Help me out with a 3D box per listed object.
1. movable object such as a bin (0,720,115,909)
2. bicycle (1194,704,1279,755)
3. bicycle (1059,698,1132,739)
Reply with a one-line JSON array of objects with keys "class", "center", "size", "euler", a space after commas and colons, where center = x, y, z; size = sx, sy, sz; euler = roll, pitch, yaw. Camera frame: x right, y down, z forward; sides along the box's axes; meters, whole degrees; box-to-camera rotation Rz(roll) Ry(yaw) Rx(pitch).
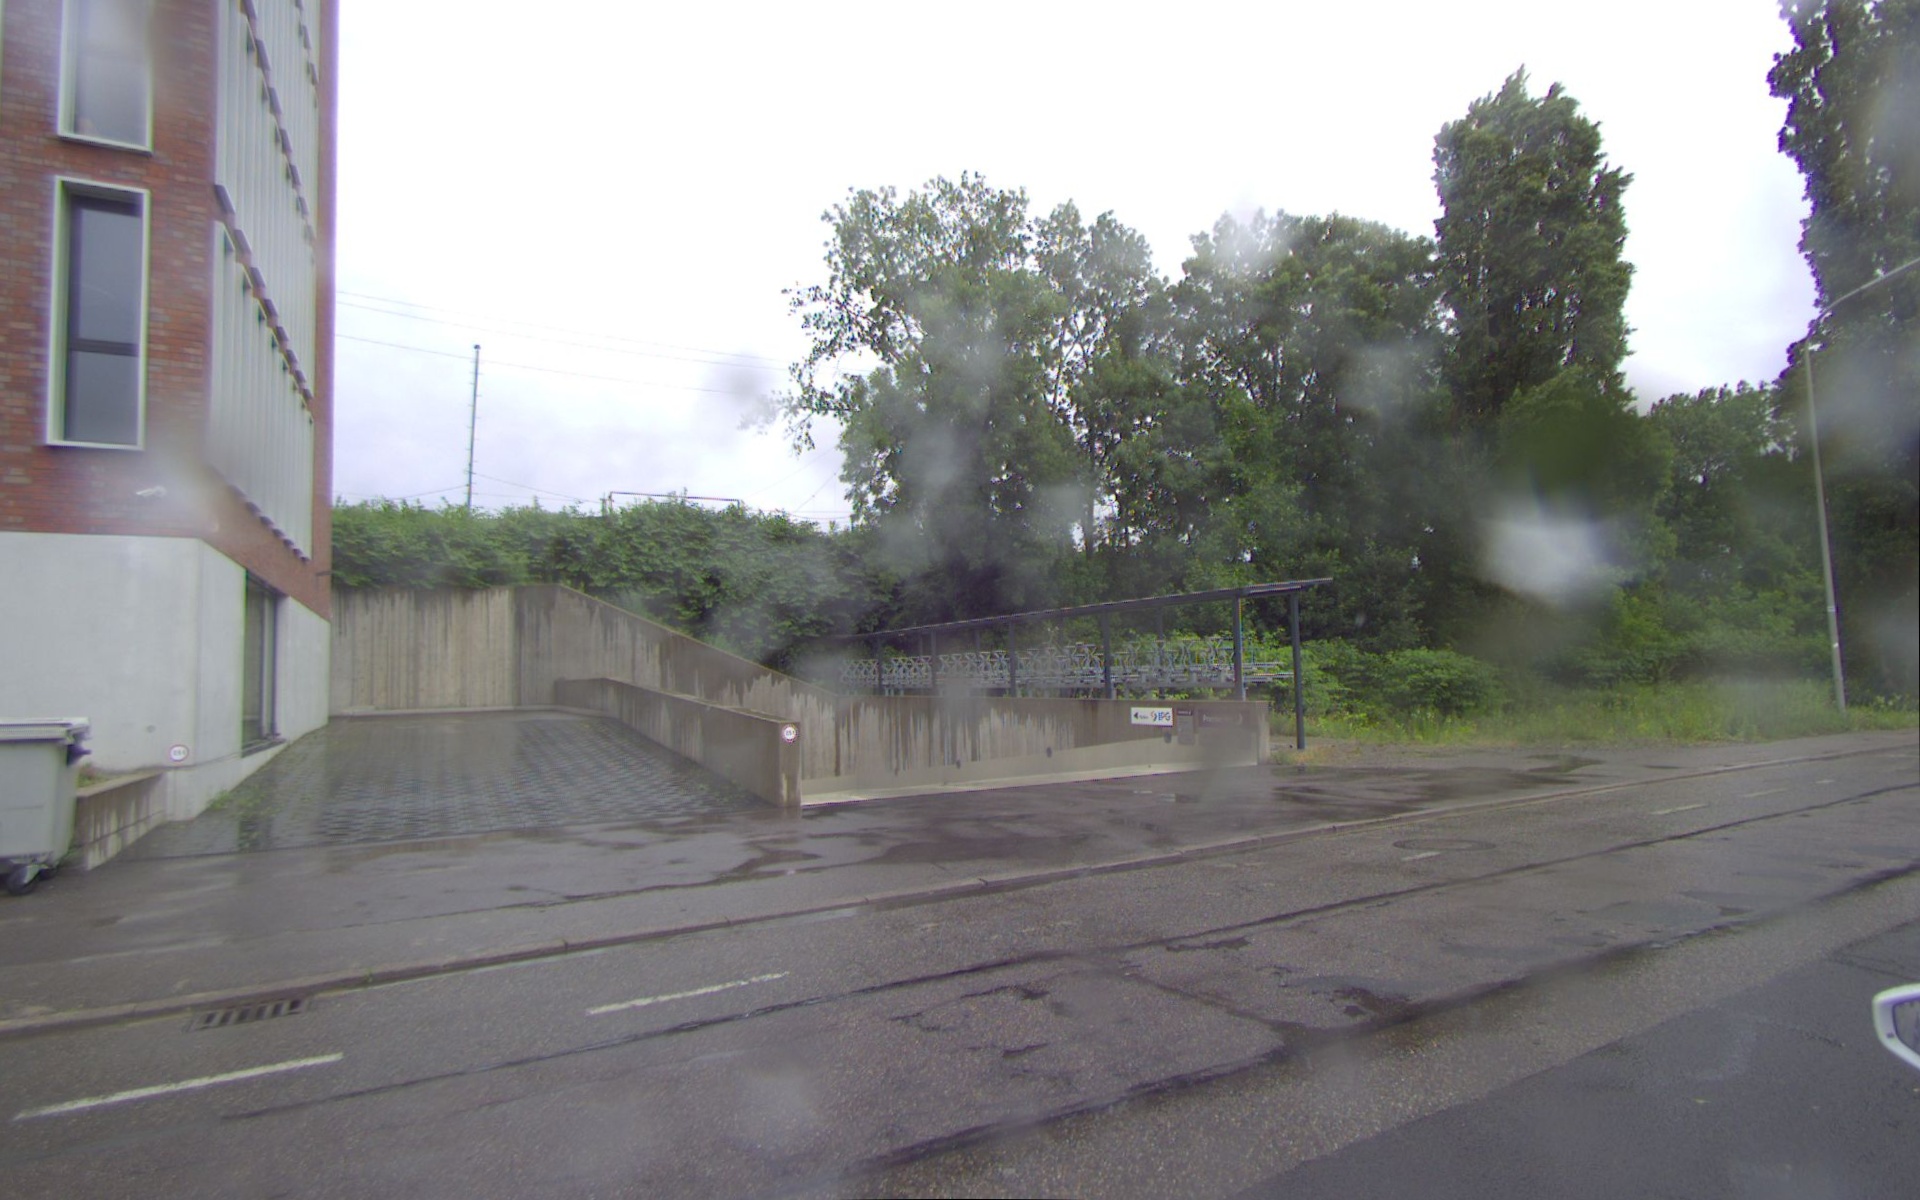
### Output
[{"class": "movable object such as a bin", "center": [-7.679, 1.667, 7.913], "size": [1.343, 1.349, 1.289], "euler": [1, -5, -32]}, {"class": "bicycle", "center": [5.272, 2.453, 19.117], "size": [1.653, 0.869, 0.514], "euler": [1, -6, -31]}, {"class": "bicycle", "center": [3.146, 2.742, 23.304], "size": [1.684, 0.869, 0.514], "euler": [1, -6, -31]}]
